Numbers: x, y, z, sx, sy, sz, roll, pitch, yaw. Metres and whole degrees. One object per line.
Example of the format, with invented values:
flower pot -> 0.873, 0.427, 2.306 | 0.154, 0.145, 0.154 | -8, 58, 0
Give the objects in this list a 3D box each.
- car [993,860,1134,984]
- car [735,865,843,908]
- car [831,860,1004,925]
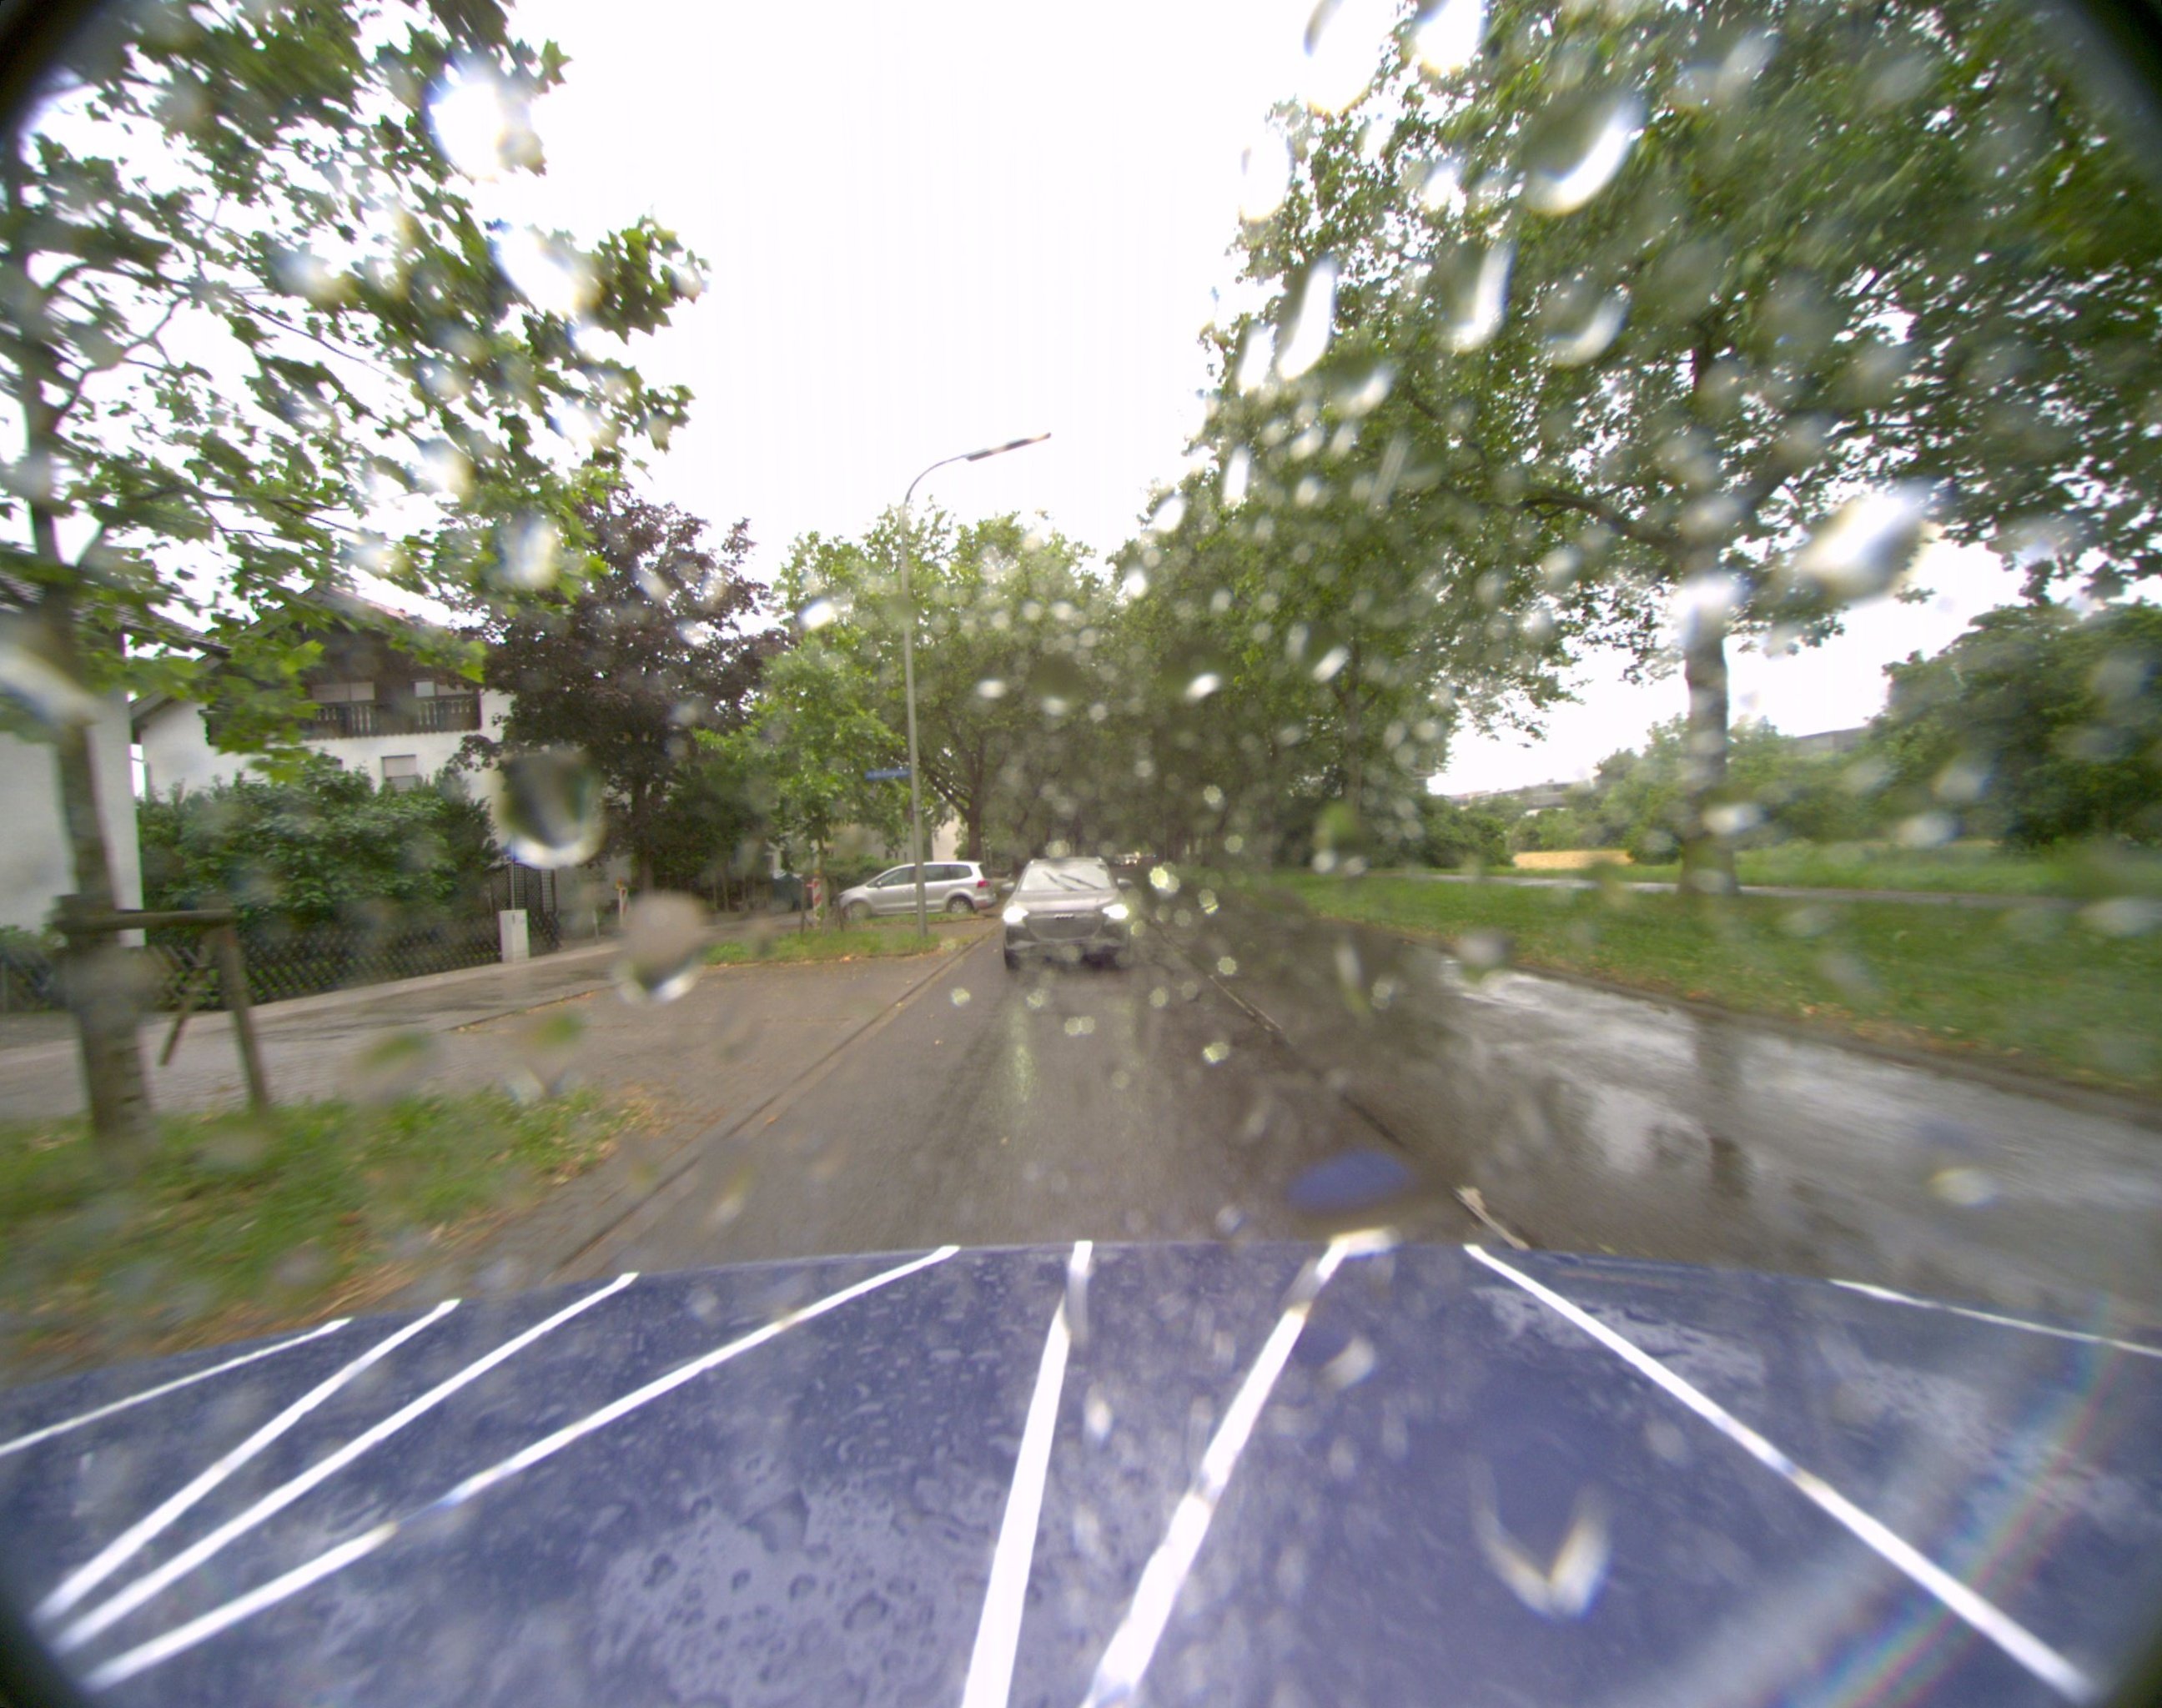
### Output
car -> -0.199, 0.952, 12.653 | 1.862, 1.608, 4.424 | -3, 0, 1
car -> -12.528, 1.382, 32.769 | 3.853, 1.603, 1.843 | -3, 0, 2
car -> -4.785, 1.112, 22.757 | 4.701, 1.651, 1.976 | -3, 0, -1
